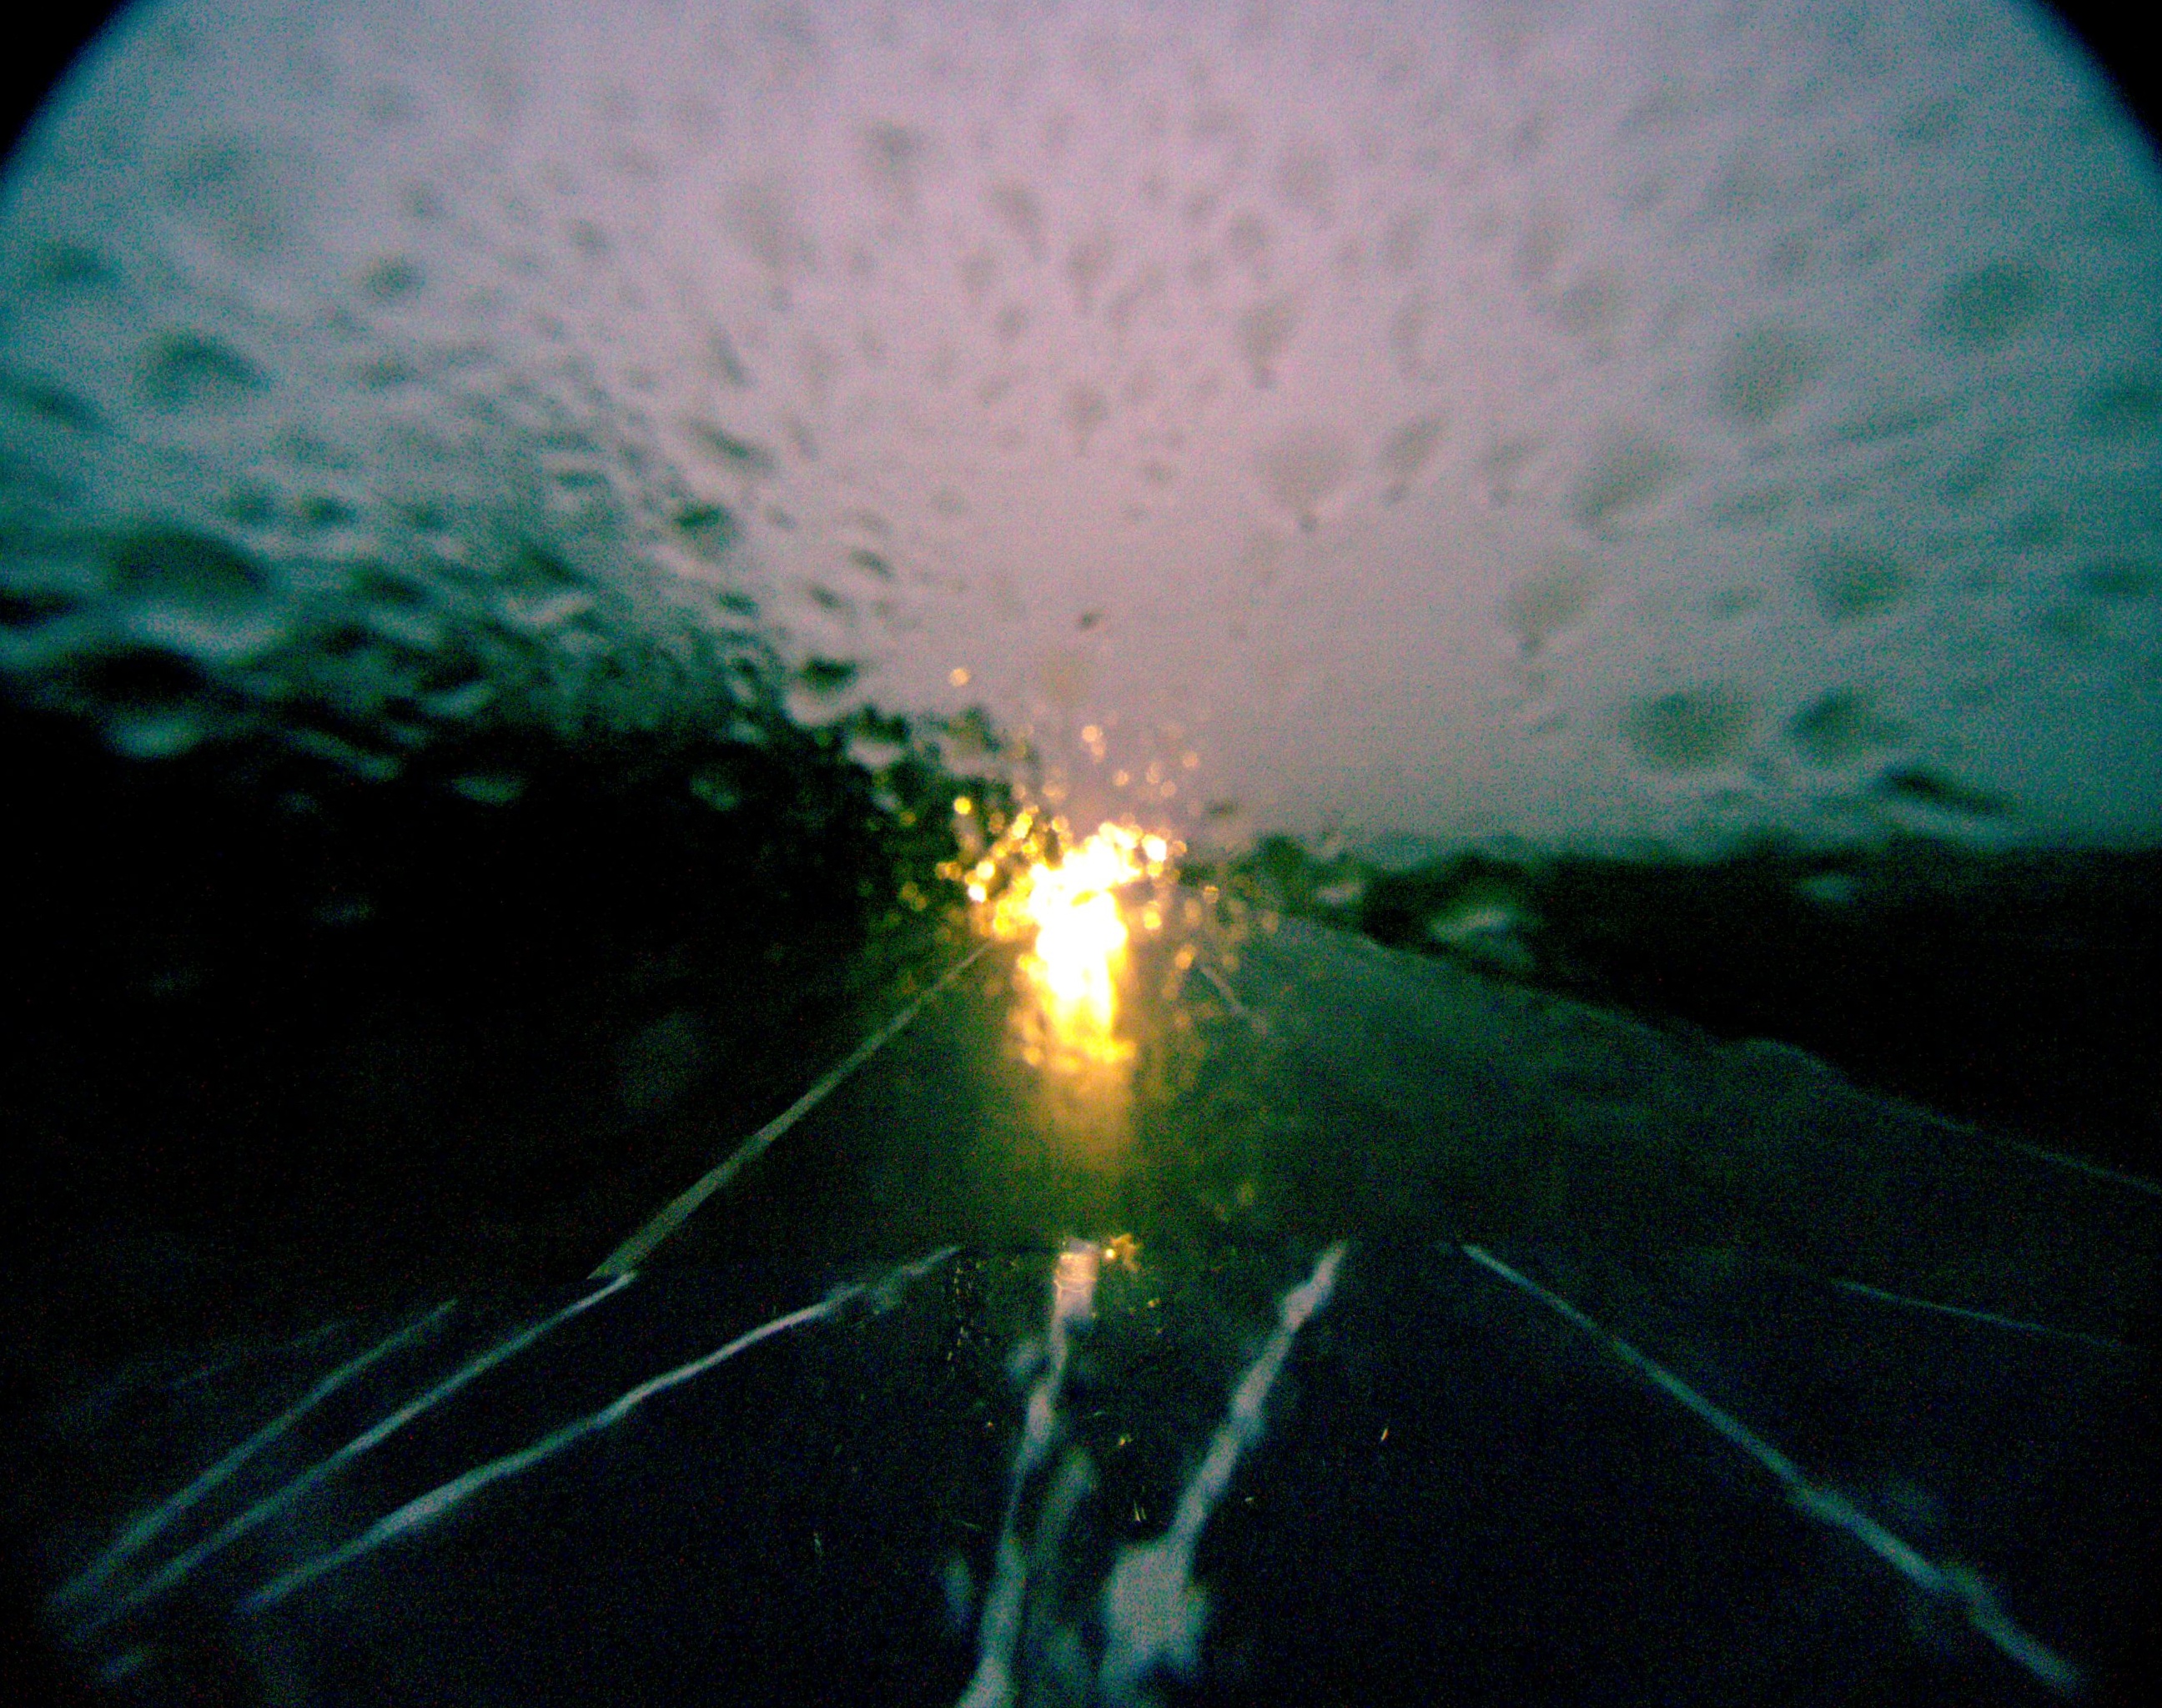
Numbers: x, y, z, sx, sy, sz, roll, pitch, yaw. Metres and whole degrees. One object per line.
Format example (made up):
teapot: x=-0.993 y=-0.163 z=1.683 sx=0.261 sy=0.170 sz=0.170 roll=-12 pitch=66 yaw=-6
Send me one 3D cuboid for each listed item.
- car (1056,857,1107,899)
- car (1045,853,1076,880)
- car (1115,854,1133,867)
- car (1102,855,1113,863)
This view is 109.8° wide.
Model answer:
car: x=0.035 y=0.902 z=30.612 sx=1.844 sy=1.484 sz=3.956 roll=-2 pitch=0 yaw=0
car: x=-1.401 y=0.839 z=53.468 sx=1.933 sy=1.740 sz=4.000 roll=-2 pitch=1 yaw=1
car: x=5.266 y=0.742 z=94.387 sx=1.998 sy=1.455 sz=4.351 roll=2 pitch=1 yaw=1
car: x=5.132 y=0.919 z=148.468 sx=1.998 sy=1.364 sz=4.398 roll=-2 pitch=0 yaw=1
